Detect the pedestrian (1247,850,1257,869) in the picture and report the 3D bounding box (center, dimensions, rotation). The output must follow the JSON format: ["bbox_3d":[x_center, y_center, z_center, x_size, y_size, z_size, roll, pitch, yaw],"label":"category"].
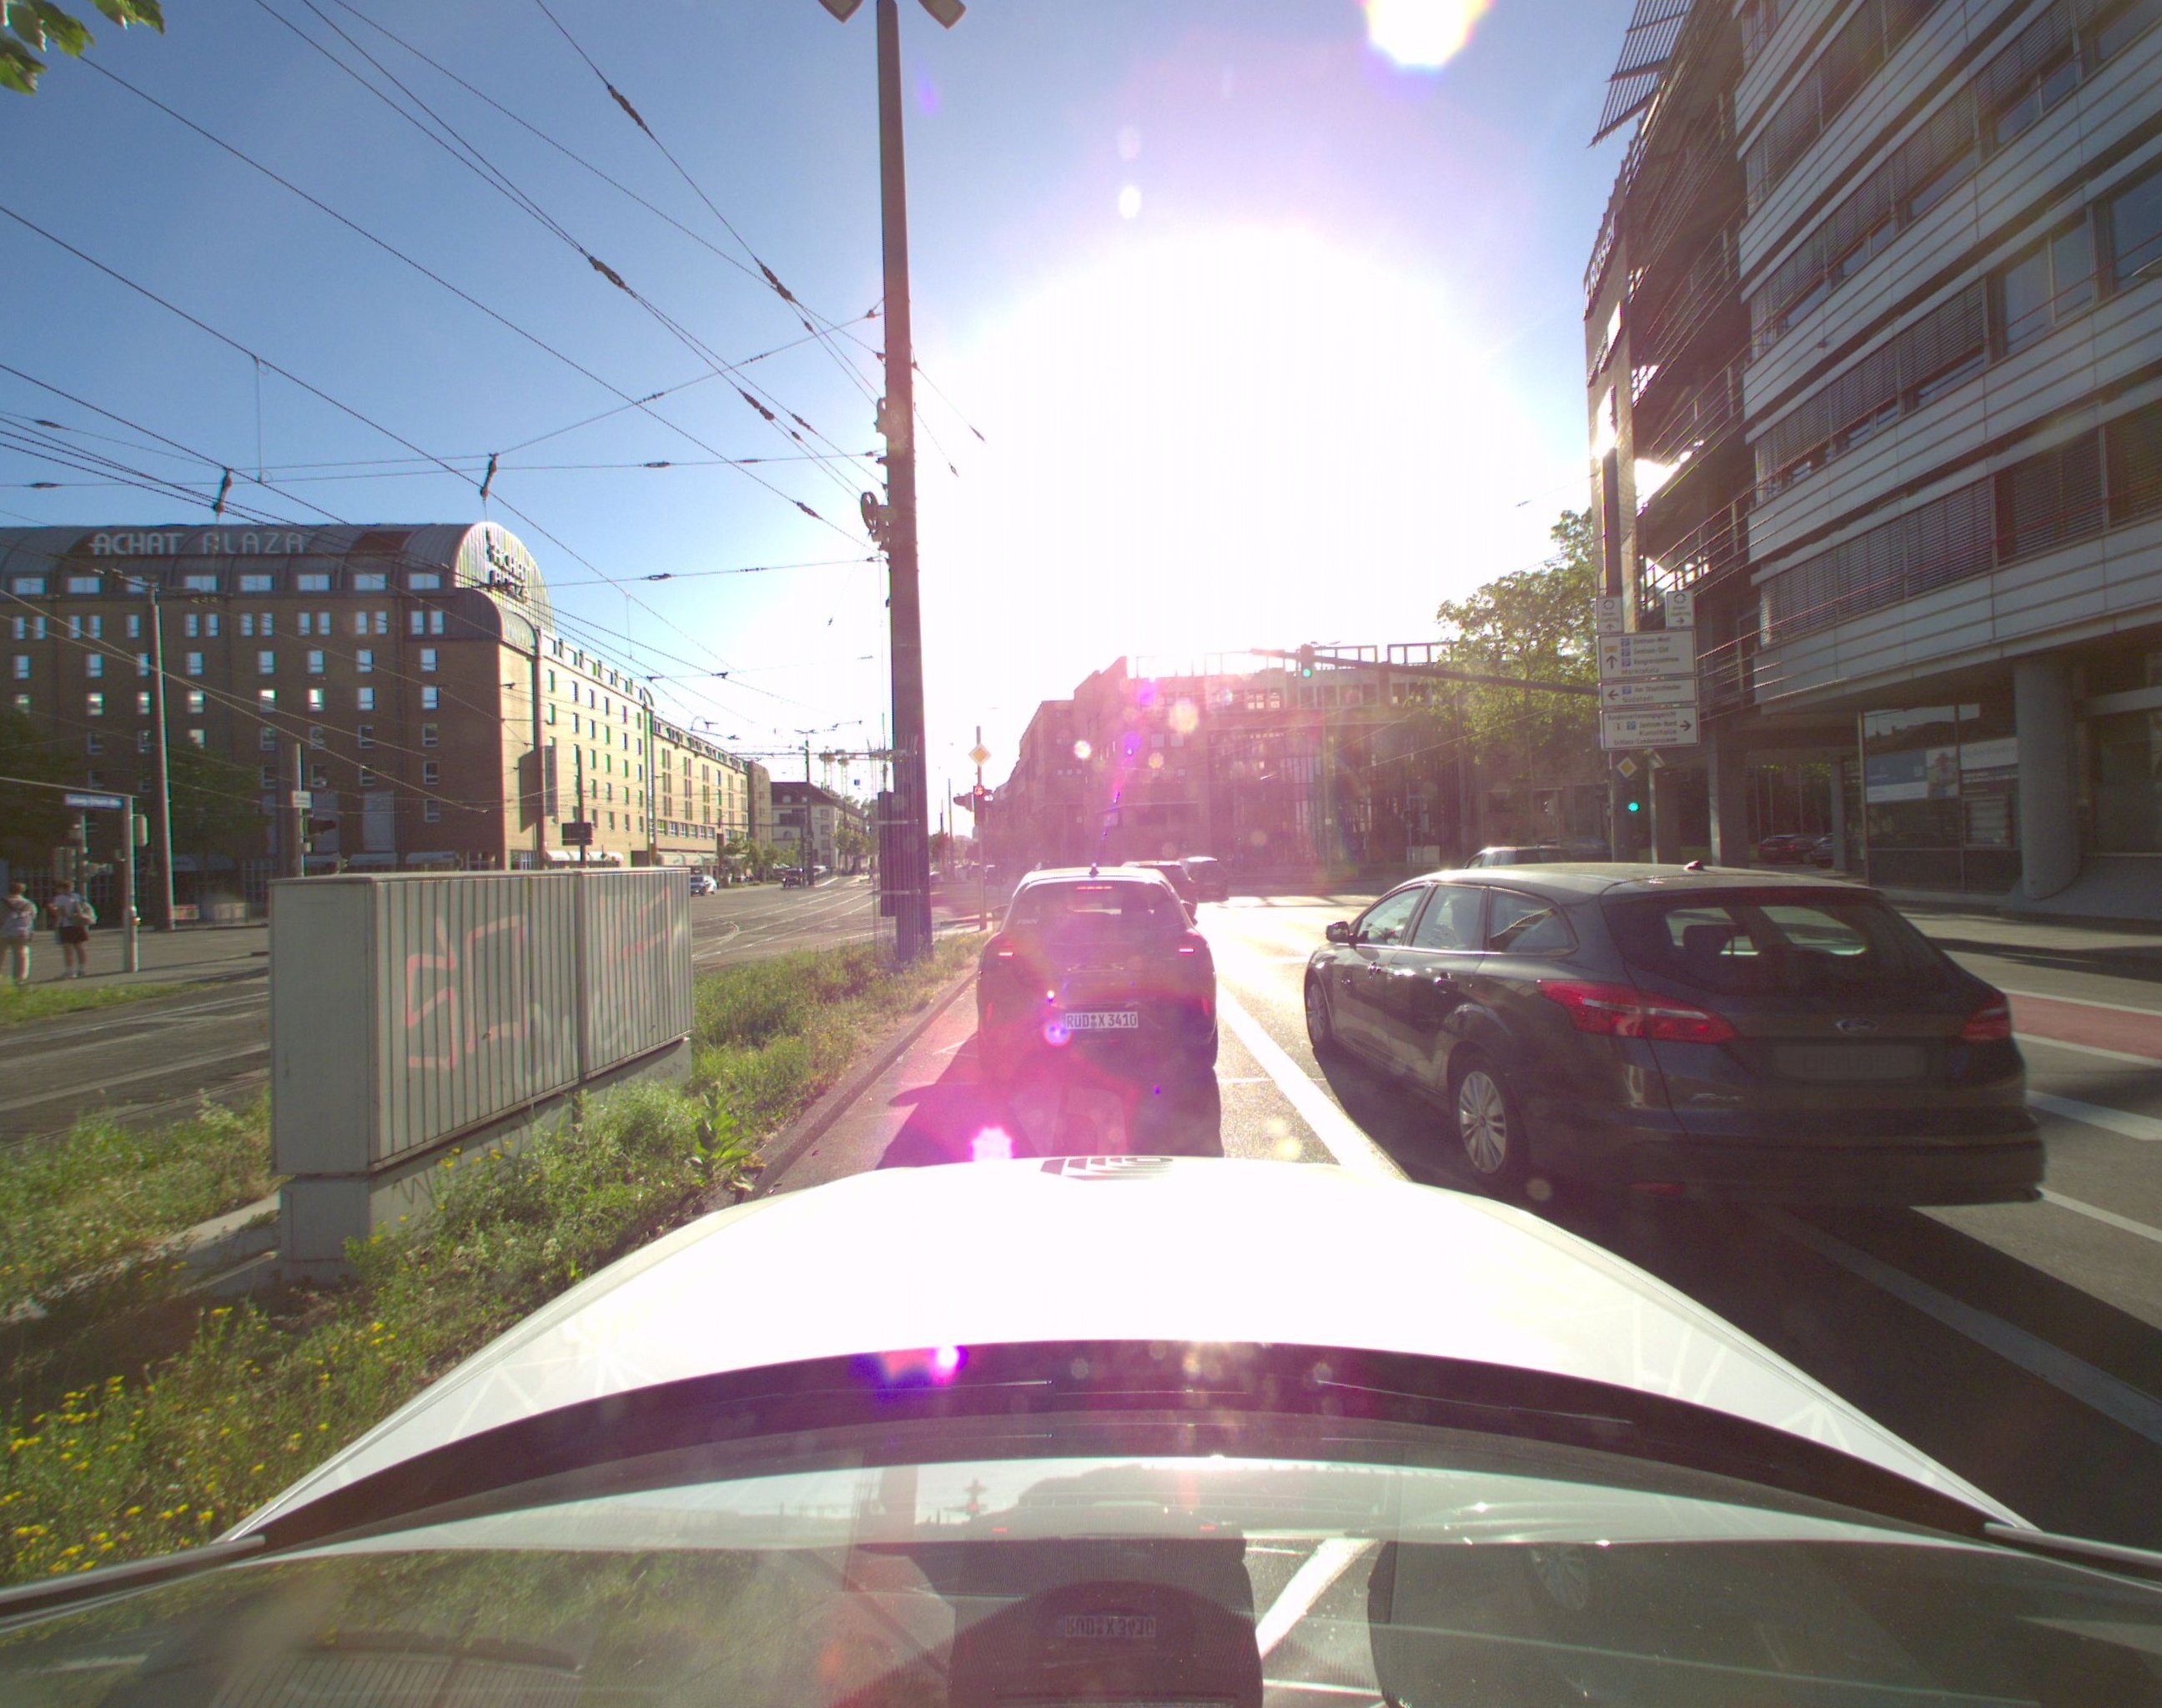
[{"bbox_3d":[14.448,0.452,68.766,0.733,1.617,0.562,-2,0,10],"label":"pedestrian"}]

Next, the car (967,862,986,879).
[{"bbox_3d":[-10.692,1.653,83.331,1.737,1.651,3.987,-2,0,-9],"label":"car"}]

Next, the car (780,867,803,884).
[{"bbox_3d":[-28.177,2.048,79.354,1.748,1.505,3.860,-2,0,-15],"label":"car"}]

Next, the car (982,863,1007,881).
[{"bbox_3d":[-6.827,1.394,63.929,1.737,1.349,3.986,-2,0,-10],"label":"car"}]

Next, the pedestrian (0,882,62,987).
[{"bbox_3d":[-19.203,1.435,14.737,0.630,1.830,0.662,-2,0,-5],"label":"pedestrian"}]

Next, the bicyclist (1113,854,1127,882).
[{"bbox_3d":[2.536,0.901,53.166,0.579,1.791,0.858,-2,0,-19],"label":"bicyclist"}]

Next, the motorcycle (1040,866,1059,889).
[{"bbox_3d":[-1.645,1.197,41.825,0.774,1.115,1.964,-2,0,-7],"label":"motorcycle"}]

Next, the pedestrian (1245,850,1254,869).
[{"bbox_3d":[14.393,0.460,69.589,0.733,1.617,0.562,-2,0,10],"label":"pedestrian"}]

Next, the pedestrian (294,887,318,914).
[{"bbox_3d":[-43.672,2.619,45.919,0.674,1.503,0.659,-2,0,-1],"label":"pedestrian"}]

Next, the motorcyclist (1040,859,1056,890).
[{"bbox_3d":[-1.683,1.009,41.434,0.743,1.530,1.019,-2,0,-4],"label":"motorcyclist"}]

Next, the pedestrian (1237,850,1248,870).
[{"bbox_3d":[13.490,0.480,68.030,0.894,1.617,0.562,-2,0,10],"label":"pedestrian"}]

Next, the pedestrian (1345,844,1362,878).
[{"bbox_3d":[14.337,0.358,42.907,0.700,1.759,0.564,-2,-1,27],"label":"pedestrian"}]

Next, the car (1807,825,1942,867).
[{"bbox_3d":[32.676,-0.325,33.593,3.981,1.651,1.861,-1,0,-6],"label":"car"}]

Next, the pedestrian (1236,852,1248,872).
[{"bbox_3d":[13.322,0.630,67.371,0.894,1.617,0.562,-2,0,10],"label":"pedestrian"}]

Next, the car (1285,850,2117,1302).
[{"bbox_3d":[2.594,0.723,4.787,1.680,1.433,4.152,-2,0,-1],"label":"car"}]

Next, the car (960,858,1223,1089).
[{"bbox_3d":[0.172,0.780,7.217,1.642,1.433,4.003,-2,0,3],"label":"car"}]

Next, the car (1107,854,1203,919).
[{"bbox_3d":[1.816,0.784,21.462,1.807,1.492,4.489,-1,0,-4],"label":"car"}]

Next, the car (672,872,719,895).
[{"bbox_3d":[-27.331,2.048,57.848,1.569,1.449,3.996,-2,0,-3],"label":"car"}]

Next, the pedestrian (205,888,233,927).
[{"bbox_3d":[-45.473,2.821,42.958,0.663,2.013,0.678,-2,0,3],"label":"pedestrian"}]

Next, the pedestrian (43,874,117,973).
[{"bbox_3d":[-19.257,1.318,15.678,0.562,1.817,0.662,-2,0,-5],"label":"pedestrian"}]

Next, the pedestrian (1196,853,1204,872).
[{"bbox_3d":[9.567,0.684,65.312,0.527,1.430,0.598,-2,0,1],"label":"pedestrian"}]

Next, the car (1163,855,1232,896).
[{"bbox_3d":[4.410,0.779,31.358,1.804,1.457,3.994,-1,0,-4],"label":"car"}]

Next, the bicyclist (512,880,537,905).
[{"bbox_3d":[-32.106,2.233,46.990,0.756,1.375,0.949,-2,0,-6],"label":"bicyclist"}]

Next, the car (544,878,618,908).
[{"bbox_3d":[-28.174,2.168,46.004,1.719,1.422,4.139,-4,0,-4],"label":"car"}]

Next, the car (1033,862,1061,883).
[{"bbox_3d":[-2.534,1.326,60.472,1.805,1.457,3.991,-1,0,-6],"label":"car"}]

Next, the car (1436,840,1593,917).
[{"bbox_3d":[10.493,0.549,20.125,1.681,1.629,4.466,-2,0,3],"label":"car"}]

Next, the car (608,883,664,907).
[{"bbox_3d":[-34.235,3.137,62.807,1.745,1.550,4.007,-2,0,6],"label":"car"}]

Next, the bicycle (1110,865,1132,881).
[{"bbox_3d":[2.580,1.230,53.222,0.493,0.997,2.311,-2,0,-21],"label":"bicycle"}]

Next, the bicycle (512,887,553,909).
[{"bbox_3d":[-31.924,2.542,47.479,0.649,1.085,2.920,-2,0,-6],"label":"bicycle"}]

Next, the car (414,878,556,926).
[{"bbox_3d":[-23.595,1.864,32.528,1.985,1.596,4.742,-2,0,3],"label":"car"}]

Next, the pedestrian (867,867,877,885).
[{"bbox_3d":[-19.252,2.008,74.951,0.768,1.640,0.739,-2,0,-21],"label":"pedestrian"}]
